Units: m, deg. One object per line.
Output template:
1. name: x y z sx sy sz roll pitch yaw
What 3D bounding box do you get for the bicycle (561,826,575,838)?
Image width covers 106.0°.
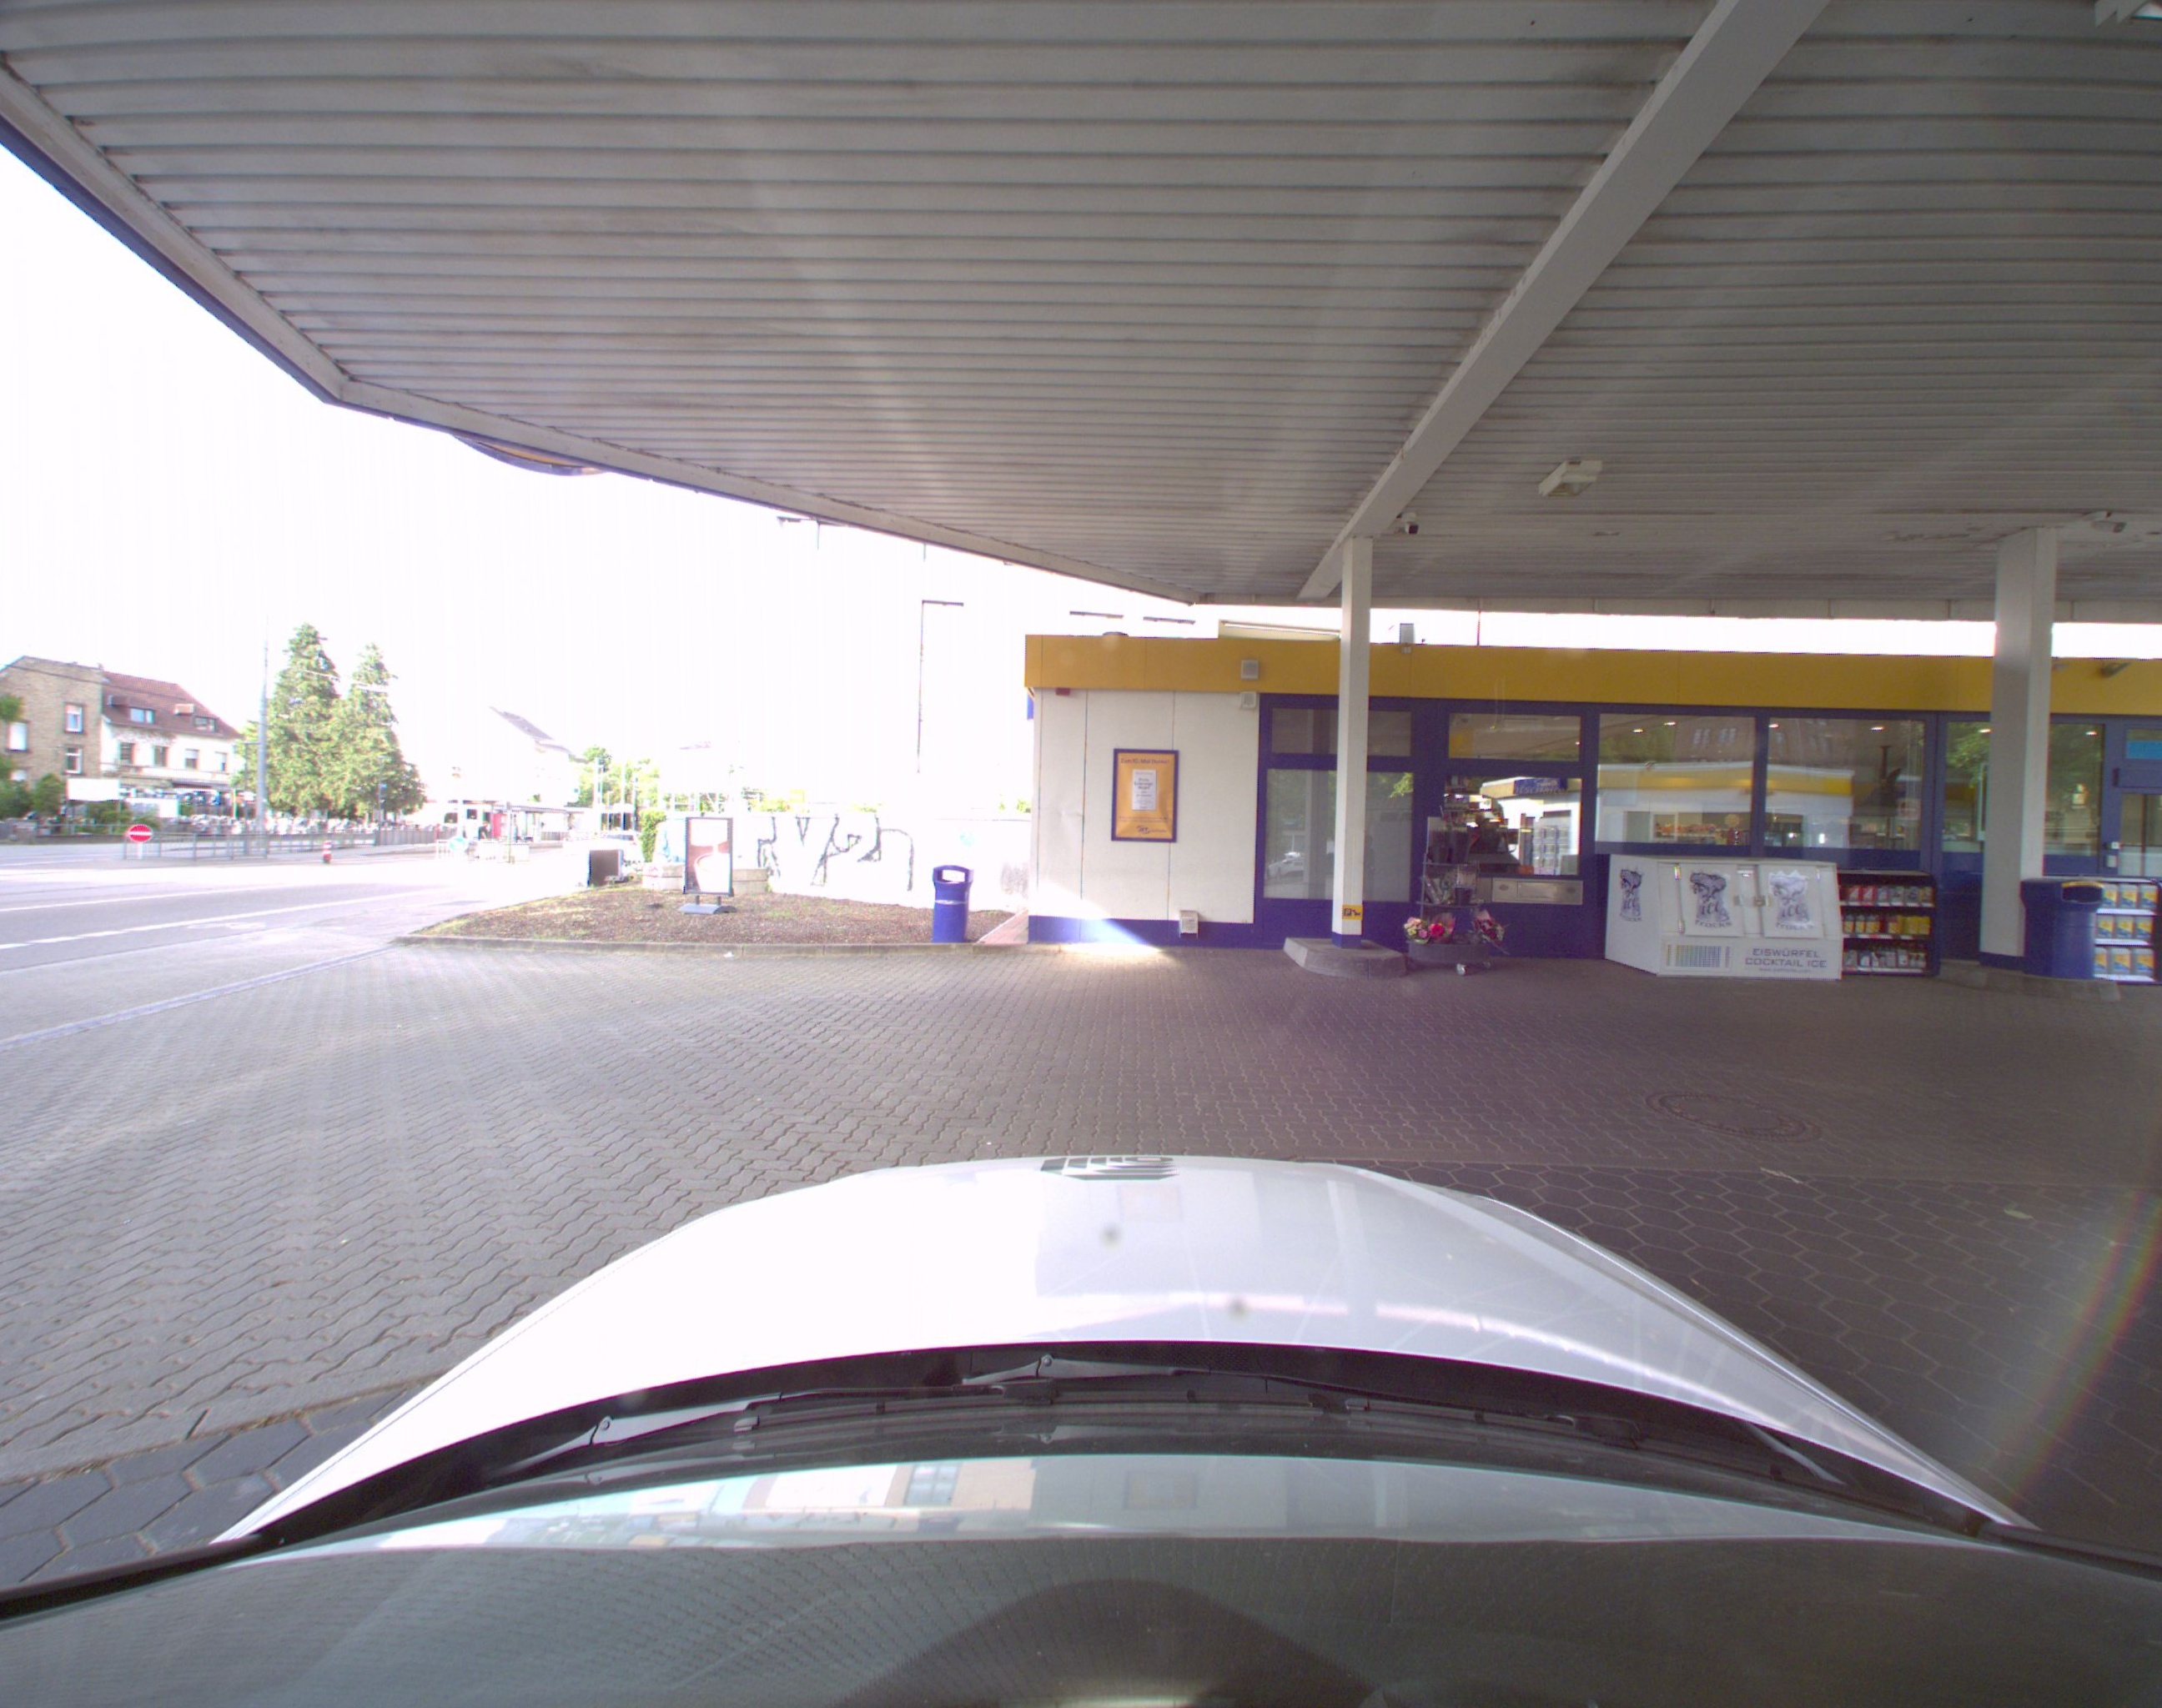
1. bicycle: -52.388 -2.264 83.189 0.680 1.222 1.909 0 1 -15

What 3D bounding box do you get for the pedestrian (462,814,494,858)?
1. pedestrian: -28.172 -0.825 38.056 0.801 2.014 0.853 -1 -1 11

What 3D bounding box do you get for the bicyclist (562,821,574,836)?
1. bicyclist: -52.386 -2.624 83.186 0.680 1.534 1.080 0 1 -16

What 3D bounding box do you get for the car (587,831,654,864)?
1. car: -22.383 -0.358 39.754 1.756 1.476 3.981 3 1 -14
